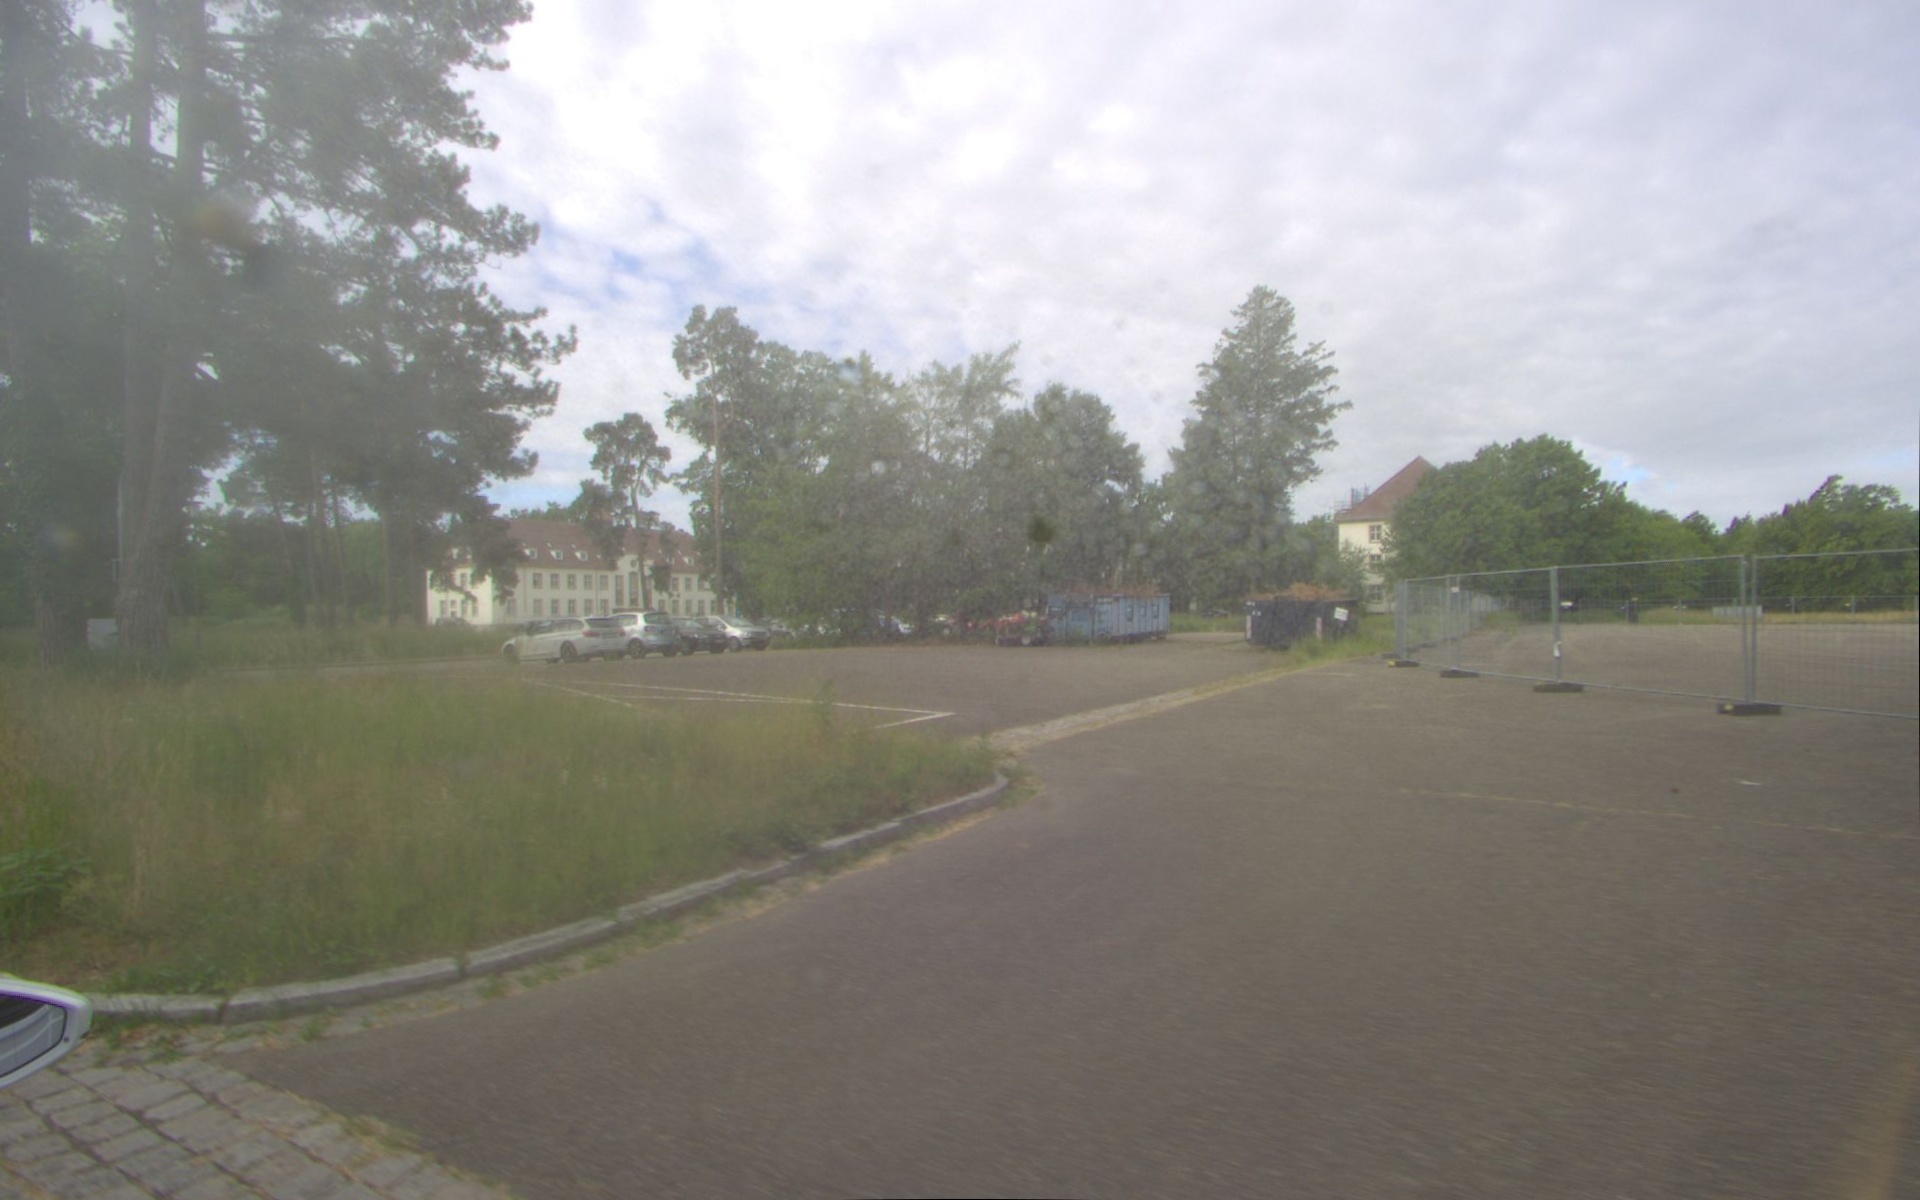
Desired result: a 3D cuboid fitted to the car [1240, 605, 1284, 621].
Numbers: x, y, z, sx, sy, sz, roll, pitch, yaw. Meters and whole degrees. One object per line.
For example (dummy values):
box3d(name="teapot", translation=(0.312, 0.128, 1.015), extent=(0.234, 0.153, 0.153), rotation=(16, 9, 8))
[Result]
box3d(name="car", translation=(40.076, 1.713, 132.803), extent=(5.223, 1.979, 2.080), rotation=(-1, -2, 33))

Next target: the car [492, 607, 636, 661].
box3d(name="car", translation=(-12.736, 1.111, 32.167), extent=(4.542, 1.505, 1.847), rotation=(-4, -3, 29))

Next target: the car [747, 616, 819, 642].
box3d(name="car", translation=(-10.150, 1.618, 57.239), extent=(4.190, 1.408, 1.728), rotation=(-1, -1, 38))

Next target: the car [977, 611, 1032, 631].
box3d(name="car", translation=(3.569, 1.665, 80.684), extent=(4.183, 1.541, 1.730), rotation=(-1, -1, 32))

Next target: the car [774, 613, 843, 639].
box3d(name="car", translation=(-9.100, 1.521, 59.978), extent=(4.190, 1.521, 1.611), rotation=(-1, -1, 38))

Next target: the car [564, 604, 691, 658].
box3d(name="car", translation=(-11.460, 1.069, 34.484), extent=(4.181, 1.626, 1.780), rotation=(-4, -2, 29))

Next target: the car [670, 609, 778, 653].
box3d(name="car", translation=(-9.327, 1.222, 39.482), extent=(4.186, 1.504, 1.697), rotation=(-4, -2, 33))

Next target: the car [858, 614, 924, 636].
box3d(name="car", translation=(-4.605, 1.638, 66.480), extent=(4.184, 1.408, 1.730), rotation=(-1, -1, 34))

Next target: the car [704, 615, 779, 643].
box3d(name="car", translation=(-12.055, 1.560, 55.135), extent=(4.190, 1.492, 1.728), rotation=(-1, -1, 38))

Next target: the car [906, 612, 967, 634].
box3d(name="car", translation=(-1.706, 1.636, 71.938), extent=(4.183, 1.541, 1.730), rotation=(-1, -1, 32))

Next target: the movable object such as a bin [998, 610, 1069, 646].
box3d(name="movable object such as a bin", translation=(2.453, 0.939, 33.479), extent=(2.176, 1.149, 0.960), rotation=(-1, -2, 23))

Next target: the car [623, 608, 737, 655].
box3d(name="car", translation=(-10.344, 1.178, 36.887), extent=(4.186, 1.504, 1.697), rotation=(-4, -2, 33))
